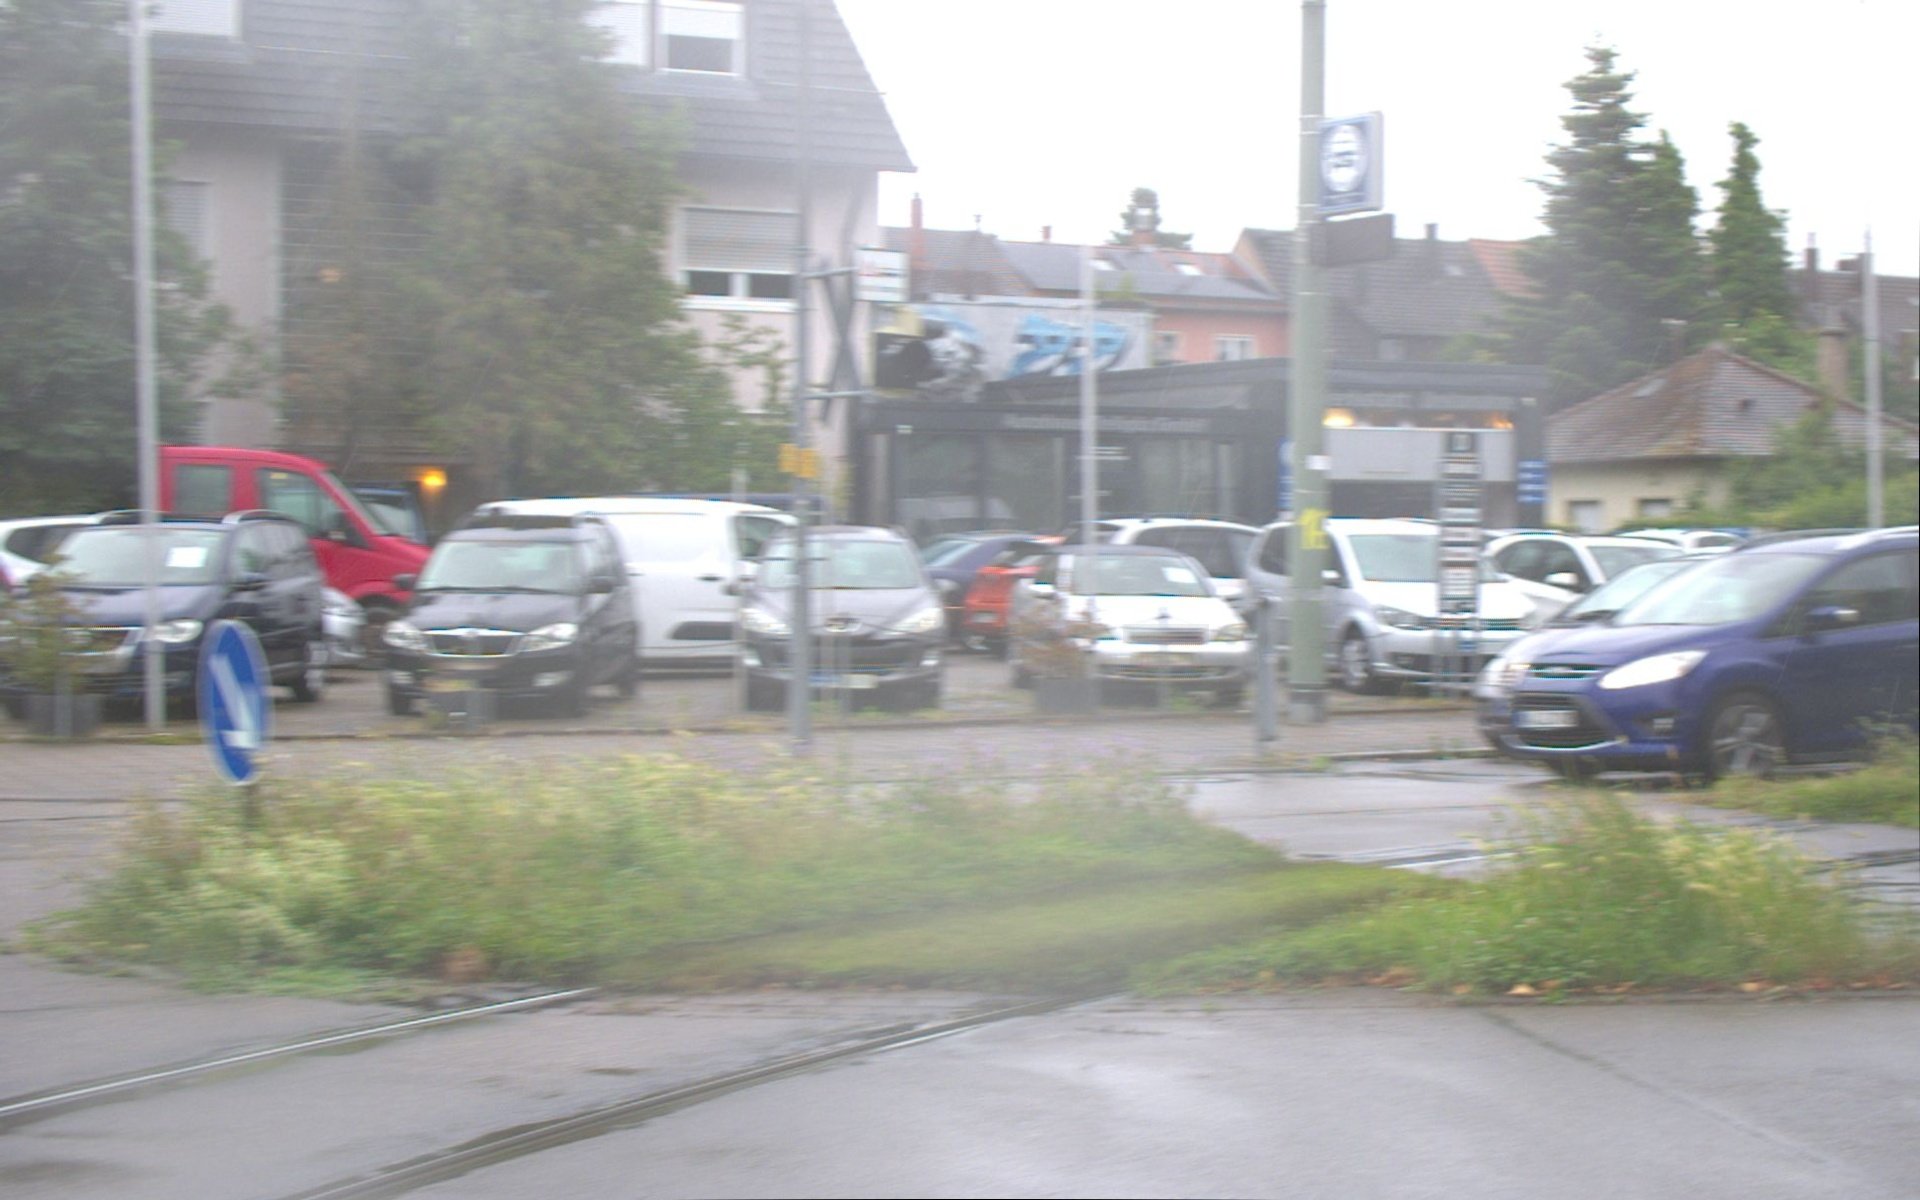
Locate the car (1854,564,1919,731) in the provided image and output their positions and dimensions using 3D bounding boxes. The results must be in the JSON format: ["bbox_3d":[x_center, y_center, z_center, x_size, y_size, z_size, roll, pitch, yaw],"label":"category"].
[{"bbox_3d":[9.696,0.450,28.375,4.373,1.334,1.723,2,0,-26],"label":"car"}]

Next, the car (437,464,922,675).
[{"bbox_3d":[-2.818,-0.308,34.588,4.432,2.007,2.000,-1,0,-26],"label":"car"}]

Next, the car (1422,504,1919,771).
[{"bbox_3d":[5.529,0.273,22.787,4.557,1.600,2.000,2,0,-30],"label":"car"}]

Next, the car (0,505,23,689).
[{"bbox_3d":[-9.237,0.012,28.152,1.802,1.573,3.871,0,1,4],"label":"car"}]

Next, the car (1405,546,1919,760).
[{"bbox_3d":[5.425,0.406,26.239,3.631,1.499,1.723,2,0,-26],"label":"car"}]

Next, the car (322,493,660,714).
[{"bbox_3d":[-3.833,-0.007,28.804,1.994,1.711,4.000,0,1,4],"label":"car"}]

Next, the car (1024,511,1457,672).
[{"bbox_3d":[3.082,-0.111,37.617,4.432,1.681,1.761,-1,0,-26],"label":"car"}]

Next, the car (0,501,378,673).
[{"bbox_3d":[-7.671,-0.131,33.274,3.965,1.592,2.000,0,0,-8],"label":"car"}]

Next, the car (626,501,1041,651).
[{"bbox_3d":[-1.485,-0.287,40.361,4.432,1.681,2.000,-1,0,-26],"label":"car"}]

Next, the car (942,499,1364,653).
[{"bbox_3d":[2.225,-0.282,39.560,4.432,1.681,2.000,-1,0,-26],"label":"car"}]

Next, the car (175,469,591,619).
[{"bbox_3d":[-6.782,-0.653,40.433,4.432,1.681,2.000,-1,0,-26],"label":"car"}]

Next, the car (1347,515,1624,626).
[{"bbox_3d":[7.550,-0.439,49.703,1.781,1.493,4.000,2,0,-31],"label":"car"}]

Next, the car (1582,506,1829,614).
[{"bbox_3d":[11.398,-0.605,52.358,1.792,1.575,4.436,0,0,40],"label":"car"}]

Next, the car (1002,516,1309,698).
[{"bbox_3d":[1.713,0.047,31.485,1.827,1.499,4.059,2,0,-11],"label":"car"}]

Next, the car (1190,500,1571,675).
[{"bbox_3d":[3.989,-0.155,33.195,1.801,1.573,3.872,-1,1,-27],"label":"car"}]

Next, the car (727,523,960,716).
[{"bbox_3d":[-0.948,0.158,29.911,1.827,1.499,4.058,2,0,0],"label":"car"}]

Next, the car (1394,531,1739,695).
[{"bbox_3d":[6.218,0.108,35.622,1.717,1.568,3.618,2,0,-25],"label":"car"}]

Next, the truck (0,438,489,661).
[{"bbox_3d":[-8.033,-0.528,36.144,6.081,2.264,2.000,0,0,-8],"label":"truck"}]

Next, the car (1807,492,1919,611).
[{"bbox_3d":[13.586,-0.654,47.535,1.863,1.575,4.389,0,0,40],"label":"car"}]

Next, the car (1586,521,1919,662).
[{"bbox_3d":[8.542,-0.105,36.698,1.717,1.391,3.843,2,0,-25],"label":"car"}]

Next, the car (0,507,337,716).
[{"bbox_3d":[-6.457,0.044,27.932,1.802,1.573,3.871,0,1,4],"label":"car"}]
